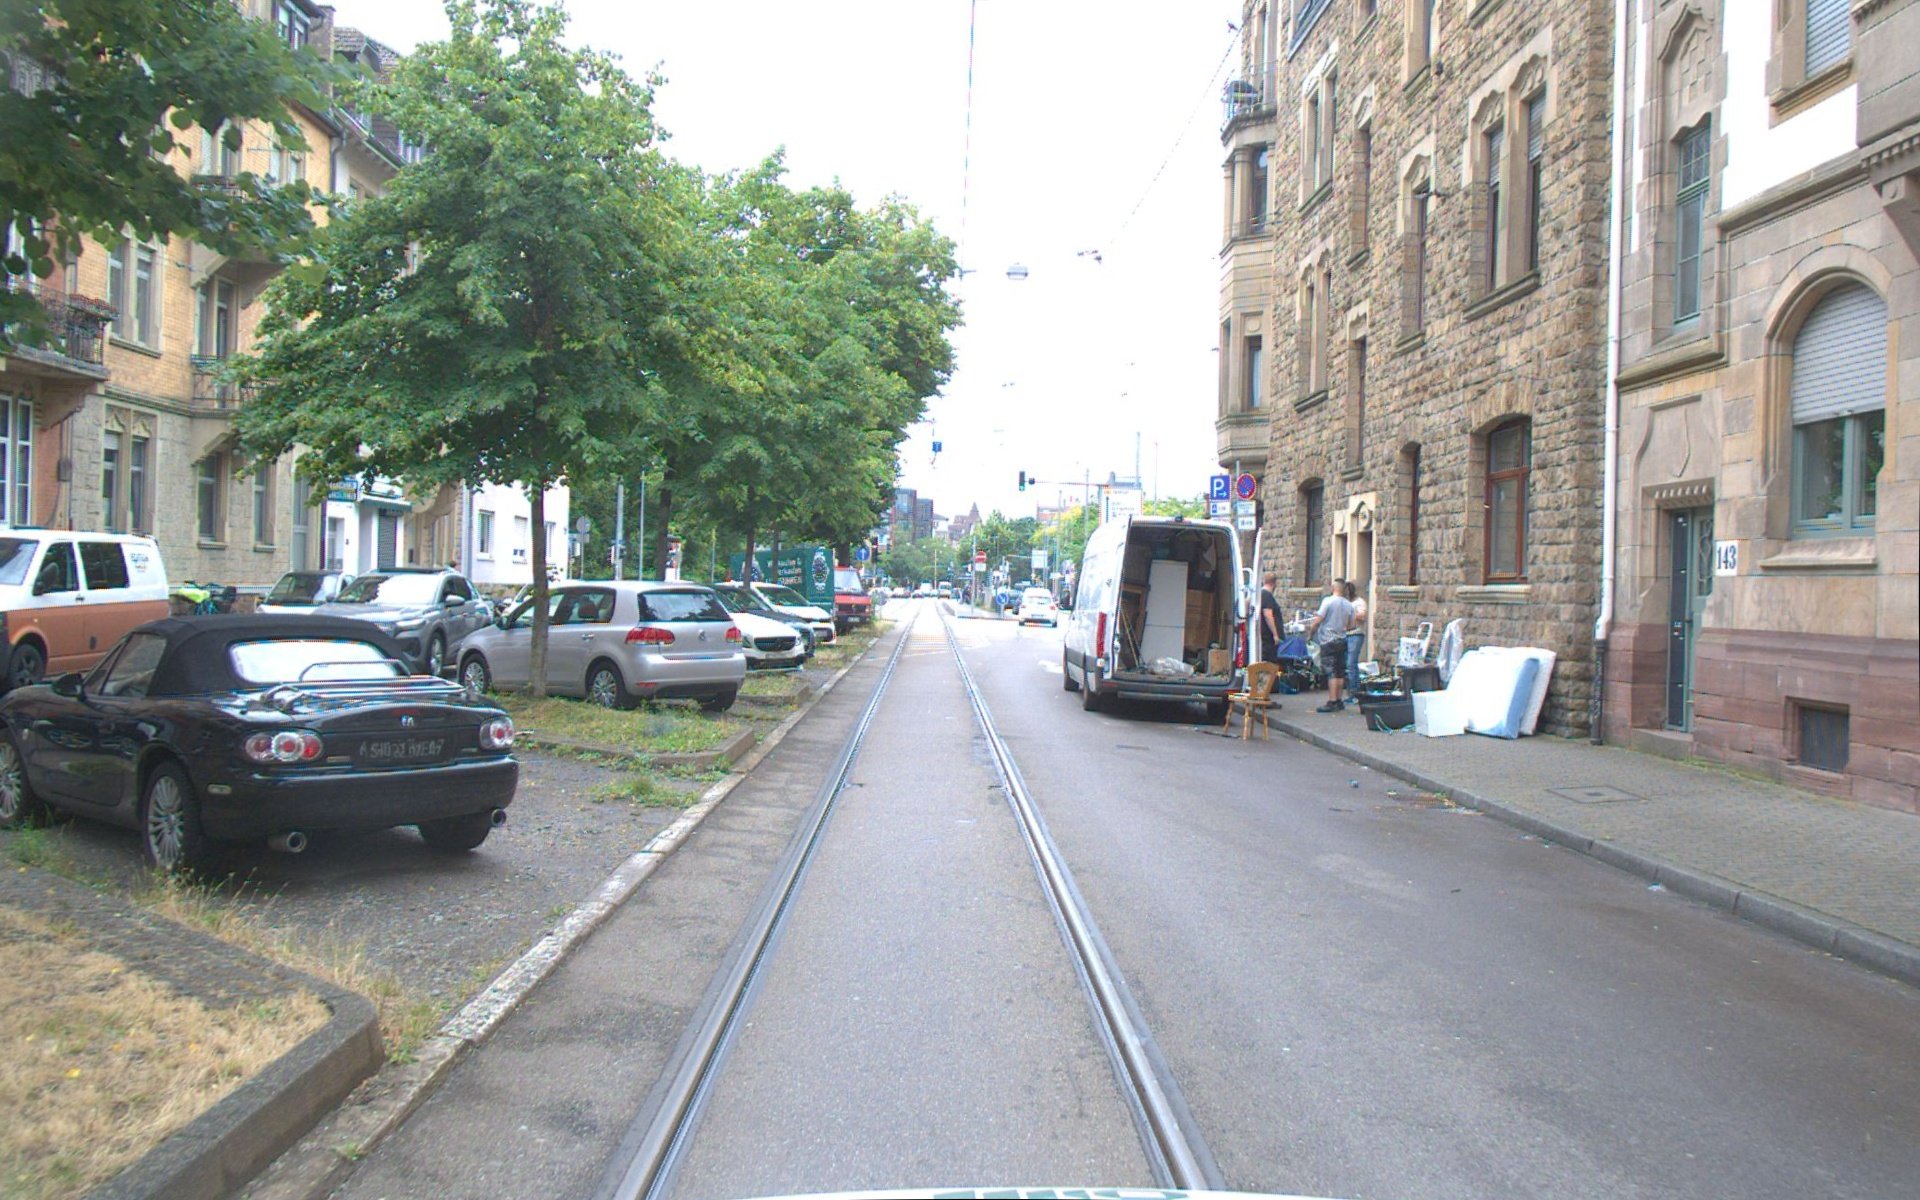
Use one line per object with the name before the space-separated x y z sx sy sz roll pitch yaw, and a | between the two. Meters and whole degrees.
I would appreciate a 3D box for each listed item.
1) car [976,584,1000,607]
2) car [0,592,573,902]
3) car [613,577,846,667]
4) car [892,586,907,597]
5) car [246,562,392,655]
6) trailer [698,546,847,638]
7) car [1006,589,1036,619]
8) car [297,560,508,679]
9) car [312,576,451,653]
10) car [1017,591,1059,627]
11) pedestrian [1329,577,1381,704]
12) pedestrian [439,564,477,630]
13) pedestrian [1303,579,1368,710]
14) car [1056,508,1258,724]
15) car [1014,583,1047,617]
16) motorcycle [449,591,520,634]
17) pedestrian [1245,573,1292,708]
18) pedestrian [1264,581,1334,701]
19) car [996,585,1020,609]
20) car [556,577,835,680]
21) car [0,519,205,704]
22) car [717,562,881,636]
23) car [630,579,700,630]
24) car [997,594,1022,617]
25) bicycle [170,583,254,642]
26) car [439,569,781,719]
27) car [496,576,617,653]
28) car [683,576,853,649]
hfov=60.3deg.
car | 2.177 -0.378 130.218 1.746 1.708 4.381 2 0 -1
car | -3.927 0.631 8.971 3.894 1.223 1.658 2 0 43
car | -4.251 0.365 30.157 4.262 1.460 1.888 2 1 41
car | -9.009 -1.240 245.351 1.733 1.519 3.889 2 0 5
car | -11.750 0.141 30.481 1.602 1.577 2.949 2 0 -3
trailer | -5.122 -0.225 45.158 3.593 2.385 1.926 2 0 32
car | 4.201 0.254 114.238 1.746 1.997 4.381 2 0 -1
car | -8.377 0.267 25.302 1.768 1.606 4.545 2 0 -2
car | -11.937 0.266 34.360 1.602 1.468 3.922 2 0 -3
car | 3.511 0.384 73.892 1.745 1.498 4.012 2 0 4
pedestrian | 5.539 0.553 23.209 0.499 1.747 0.579 -1 0 -11
pedestrian | -13.982 -0.076 46.097 0.781 1.797 0.900 1 0 -2
pedestrian | 5.083 0.590 22.378 0.695 1.729 0.488 -1 0 -29
car | 2.681 0.174 24.252 1.972 2.593 7.016 3 0 0
car | 4.318 -0.012 102.198 1.746 1.997 4.382 2 0 0
motorcycle | -12.256 0.311 42.701 0.694 1.057 2.231 1 0 15
pedestrian | 4.305 0.555 23.103 0.488 1.847 0.803 -1 0 0
pedestrian | 4.983 0.593 24.324 0.848 1.729 0.535 -1 0 -15
car | 4.357 -0.253 150.668 2.135 2.069 4.383 2 0 1
car | -4.368 0.417 26.957 4.599 1.460 1.890 2 0 39
car | -11.337 0.097 20.338 1.843 1.986 5.092 2 0 -2
car | -4.712 -0.058 48.116 4.675 2.009 1.951 2 0 38
car | -9.425 0.129 53.024 1.611 1.530 3.882 2 0 -2
car | 3.911 0.402 130.490 1.746 1.708 4.381 2 0 -1
bicycle | -14.697 0.233 32.561 0.696 1.091 2.258 2 0 -3
car | -4.159 0.453 19.347 4.041 1.510 1.788 2 0 40
car | -8.775 0.296 36.301 1.611 1.530 4.620 2 0 -2
car | -4.357 0.260 37.200 3.794 1.488 1.680 2 0 41
